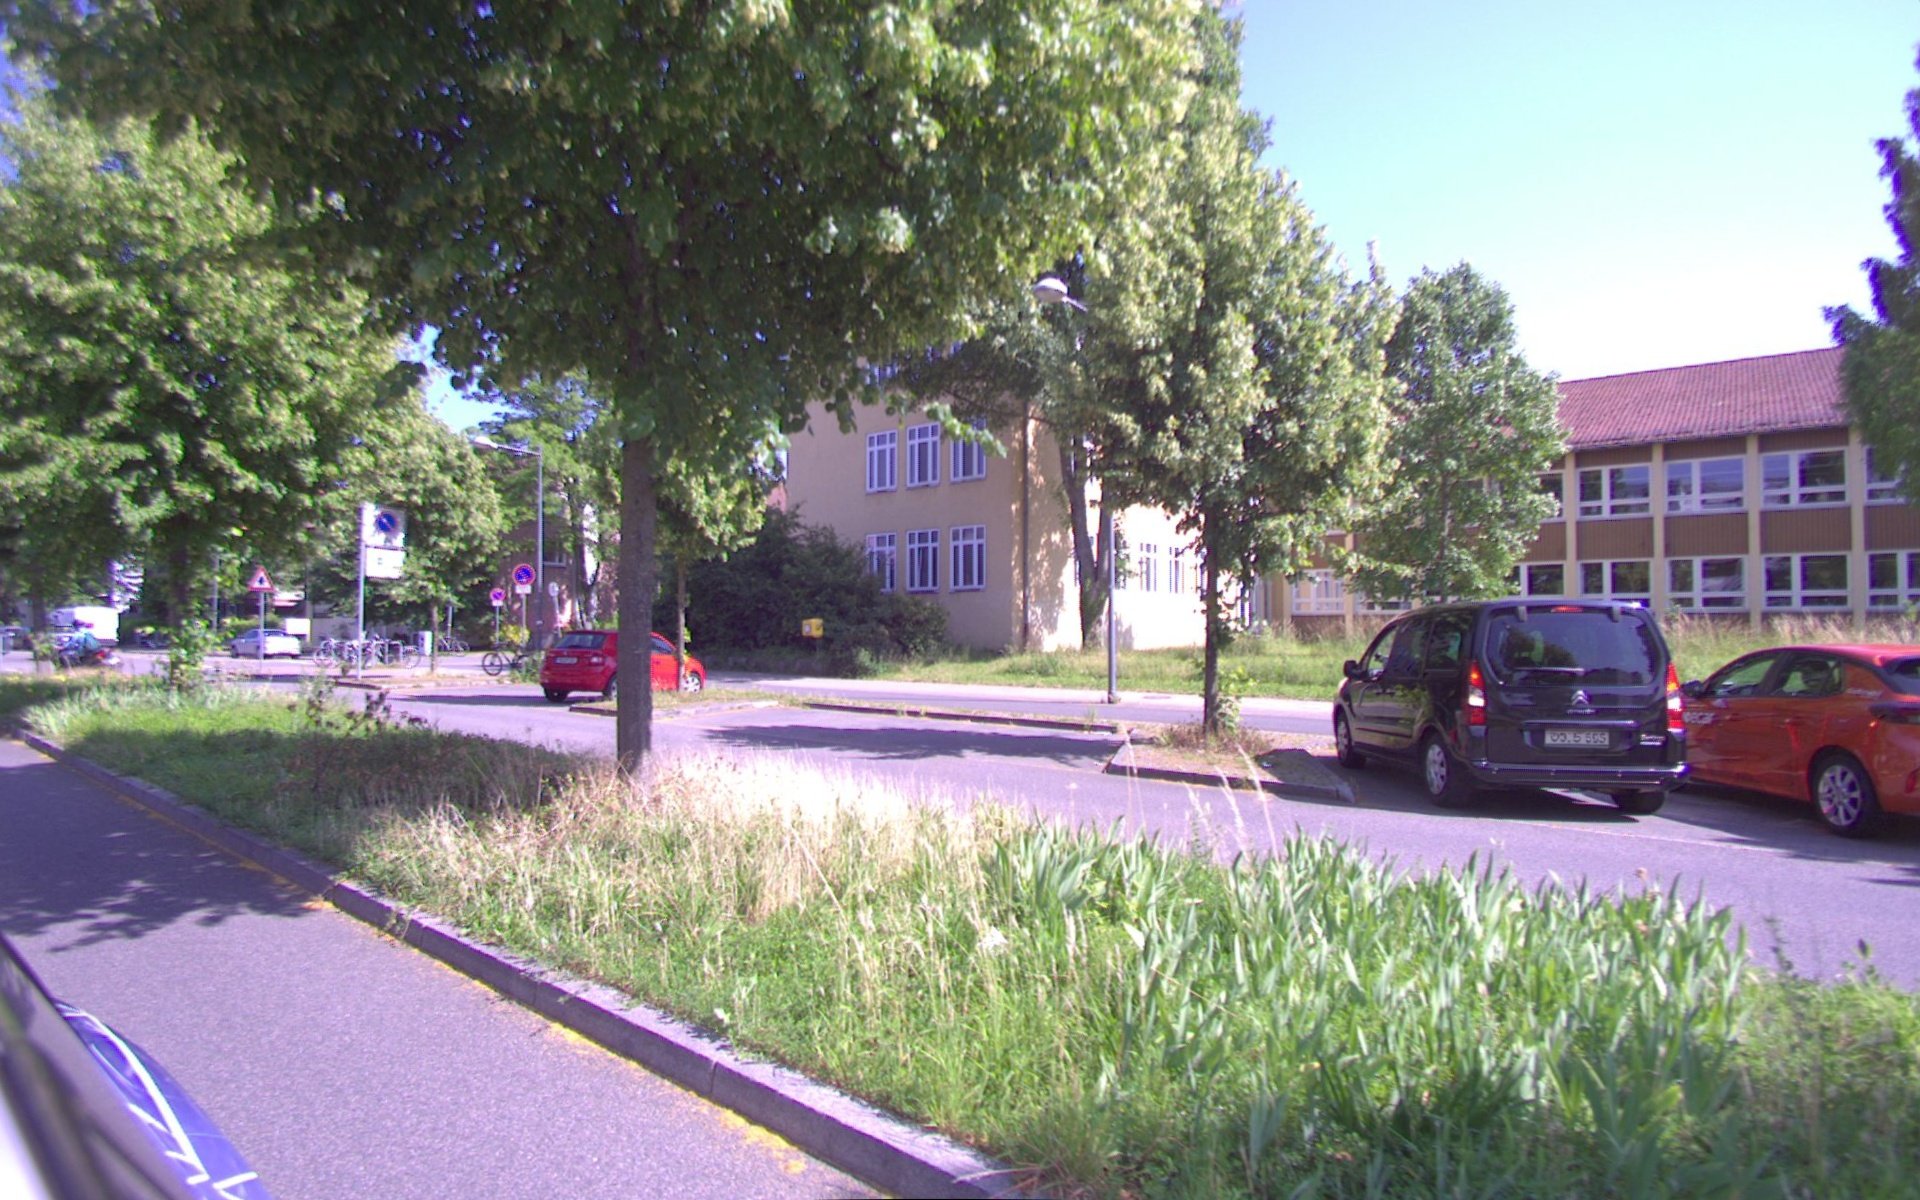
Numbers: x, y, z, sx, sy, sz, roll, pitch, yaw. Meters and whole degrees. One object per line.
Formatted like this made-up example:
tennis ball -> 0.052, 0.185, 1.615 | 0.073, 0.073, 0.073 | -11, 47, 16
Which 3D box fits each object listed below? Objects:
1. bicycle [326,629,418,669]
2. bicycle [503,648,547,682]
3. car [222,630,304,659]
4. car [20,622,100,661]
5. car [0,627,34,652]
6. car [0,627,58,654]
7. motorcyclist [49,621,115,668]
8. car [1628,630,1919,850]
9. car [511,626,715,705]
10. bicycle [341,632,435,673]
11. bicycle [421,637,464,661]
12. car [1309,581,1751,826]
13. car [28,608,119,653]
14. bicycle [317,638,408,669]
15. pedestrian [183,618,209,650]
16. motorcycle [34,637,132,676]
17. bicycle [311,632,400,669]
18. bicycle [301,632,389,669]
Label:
bicycle -> -19.209, 1.619, 33.127 | 0.738, 1.266, 2.491 | -2, -4, 38
bicycle -> -12.092, 1.798, 28.129 | 1.268, 0.910, 0.516 | -1, -3, 36
car -> -32.180, 2.059, 46.702 | 3.988, 1.276, 1.706 | -2, -4, 33
car -> -38.333, 1.751, 43.075 | 4.065, 1.559, 1.725 | -1, -3, 37
car -> -60.151, 2.503, 63.621 | 4.658, 1.571, 1.706 | -2, -4, 33
car -> -56.015, 2.474, 60.824 | 3.988, 1.571, 1.706 | -2, -4, 33
motorcyclist -> -23.535, 1.184, 27.137 | 1.052, 1.230, 0.899 | -1, -2, 16
car -> 7.473, 0.982, 8.347 | 1.835, 1.438, 3.763 | -1, -3, 9
car -> -7.092, 1.339, 21.153 | 1.985, 1.478, 3.973 | -1, -3, 20
bicycle -> -18.295, 1.648, 32.416 | 0.738, 1.266, 2.520 | -2, -2, 38
bicycle -> -23.530, 2.233, 46.010 | 1.689, 1.089, 0.378 | 0, -2, -8
car -> 5.003, 0.871, 9.740 | 1.978, 1.830, 4.184 | 0, -3, 3
car -> -50.909, 1.796, 58.080 | 5.928, 2.516, 2.074 | -2, -4, 30
bicycle -> -20.122, 1.808, 34.123 | 0.738, 0.995, 2.520 | -2, -4, 38
pedestrian -> -42.942, 1.916, 56.886 | 0.724, 1.793, 0.964 | -1, -2, 37
motorcycle -> -23.483, 1.489, 27.107 | 2.215, 1.000, 0.921 | -1, -2, 16
bicycle -> -20.896, 1.760, 35.033 | 0.738, 1.249, 2.520 | -2, -4, 38
bicycle -> -21.638, 1.789, 35.678 | 0.738, 1.266, 2.520 | -2, -4, 38
